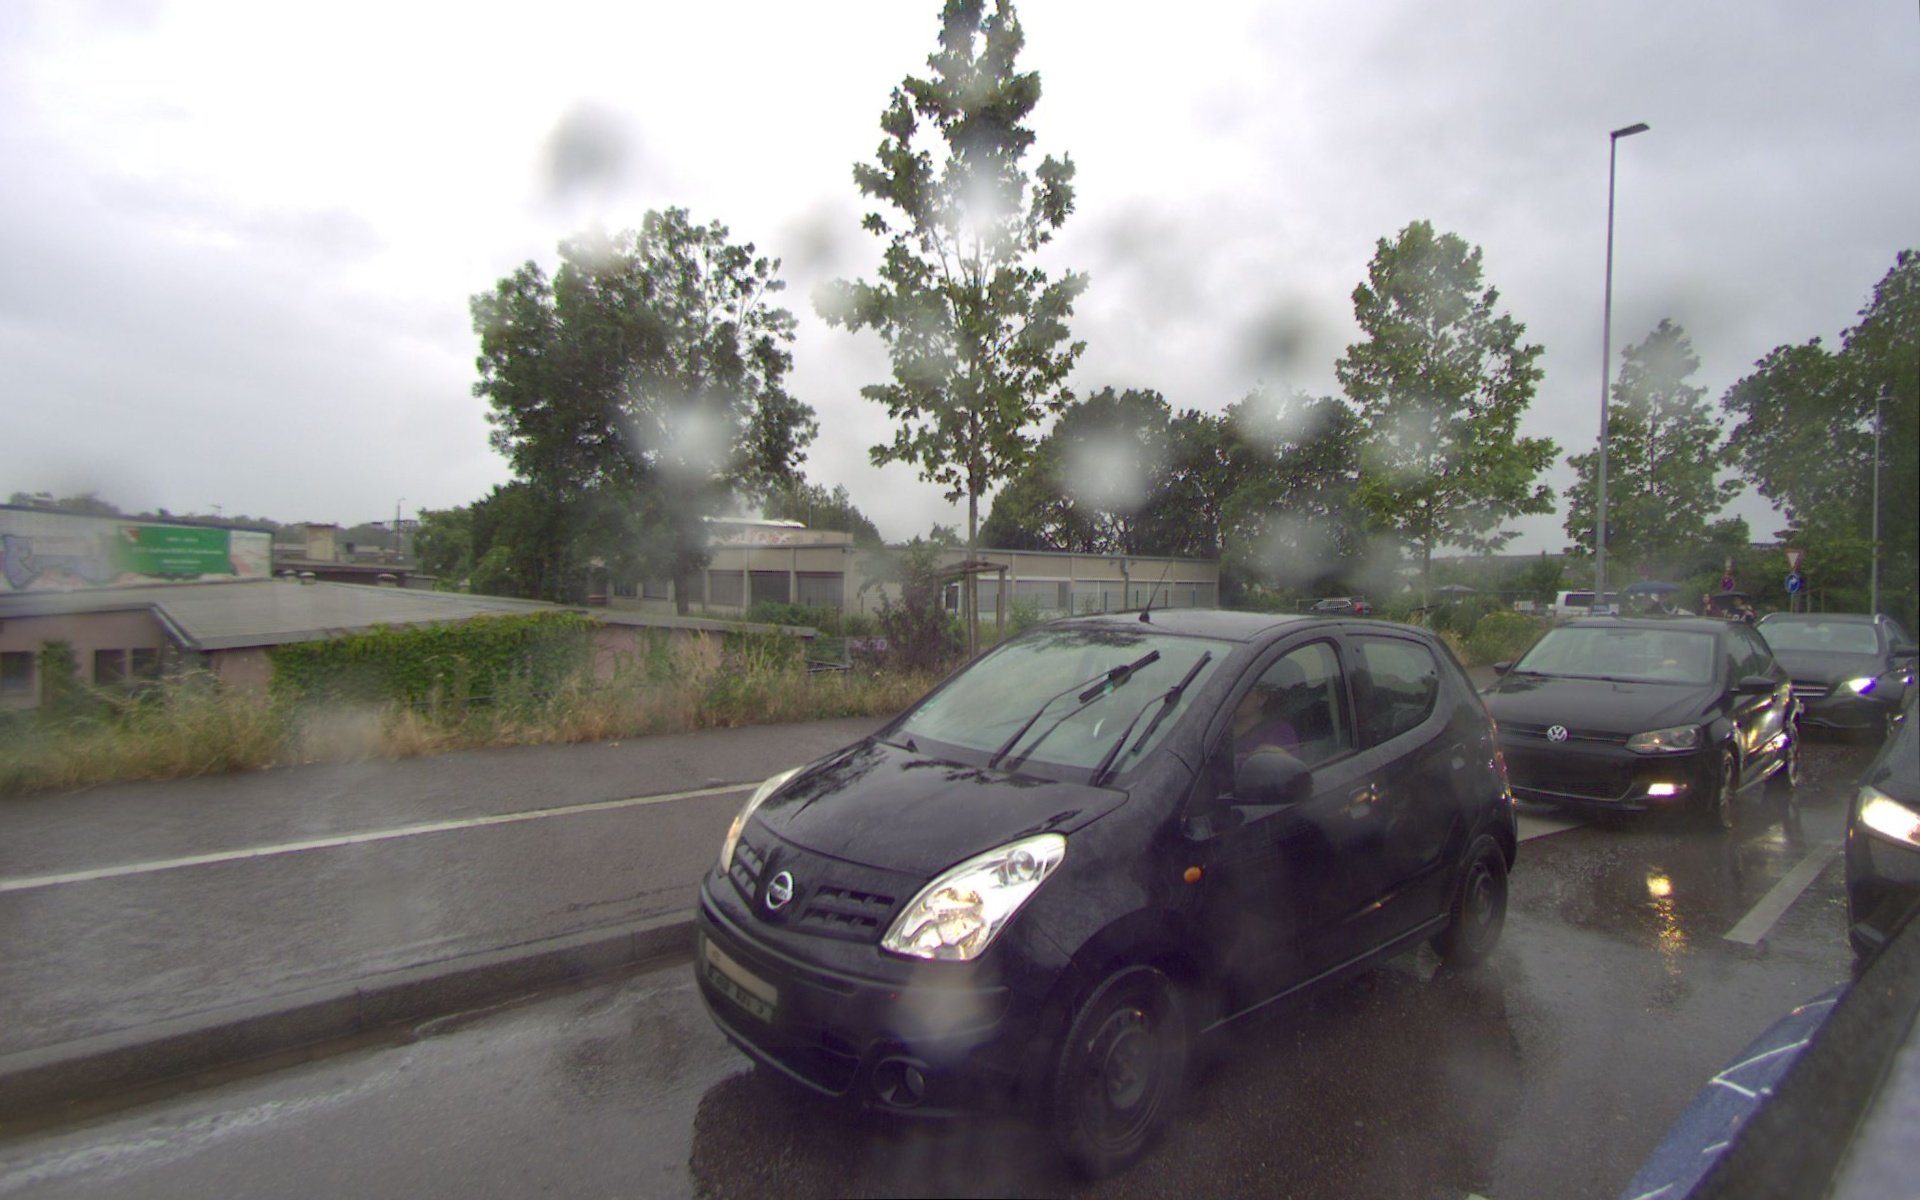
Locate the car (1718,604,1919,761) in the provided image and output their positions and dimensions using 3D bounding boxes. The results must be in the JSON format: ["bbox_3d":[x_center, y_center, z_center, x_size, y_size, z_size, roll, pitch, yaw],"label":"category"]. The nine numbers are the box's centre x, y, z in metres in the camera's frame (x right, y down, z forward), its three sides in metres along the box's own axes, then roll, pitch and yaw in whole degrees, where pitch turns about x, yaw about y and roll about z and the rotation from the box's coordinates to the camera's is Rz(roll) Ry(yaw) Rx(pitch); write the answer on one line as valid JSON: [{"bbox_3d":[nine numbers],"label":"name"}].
[{"bbox_3d":[10.911,0.877,12.519,3.747,1.594,1.697,-1,0,-41],"label":"car"}]

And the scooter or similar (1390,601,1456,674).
[{"bbox_3d":[7.906,0.614,17.249,1.747,1.144,0.380,-1,2,-43],"label":"scooter or similar"}]

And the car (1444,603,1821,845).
[{"bbox_3d":[5.372,0.760,7.924,3.561,1.447,1.631,0,0,-42],"label":"car"}]

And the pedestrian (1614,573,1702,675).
[{"bbox_3d":[12.778,0.405,18.537,0.953,1.777,1.081,0,3,-42],"label":"pedestrian"}]

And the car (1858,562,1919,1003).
[{"bbox_3d":[5.474,0.645,4.510,4.091,1.607,1.688,-1,0,-41],"label":"car"}]

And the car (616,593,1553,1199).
[{"bbox_3d":[0.747,0.715,3.872,3.561,1.447,1.631,0,0,-42],"label":"car"}]

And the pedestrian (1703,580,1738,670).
[{"bbox_3d":[14.662,0.470,19.504,0.433,1.682,0.400,0,3,-42],"label":"pedestrian"}]

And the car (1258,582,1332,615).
[{"bbox_3d":[21.001,-0.104,63.479,1.964,2.039,3.996,0,0,-38],"label":"car"}]

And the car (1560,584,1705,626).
[{"bbox_3d":[28.108,0.178,42.392,1.966,1.670,4.752,-1,1,-42],"label":"car"}]

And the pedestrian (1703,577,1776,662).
[{"bbox_3d":[16.791,0.401,21.811,0.876,1.729,1.024,0,3,-41],"label":"pedestrian"}]
